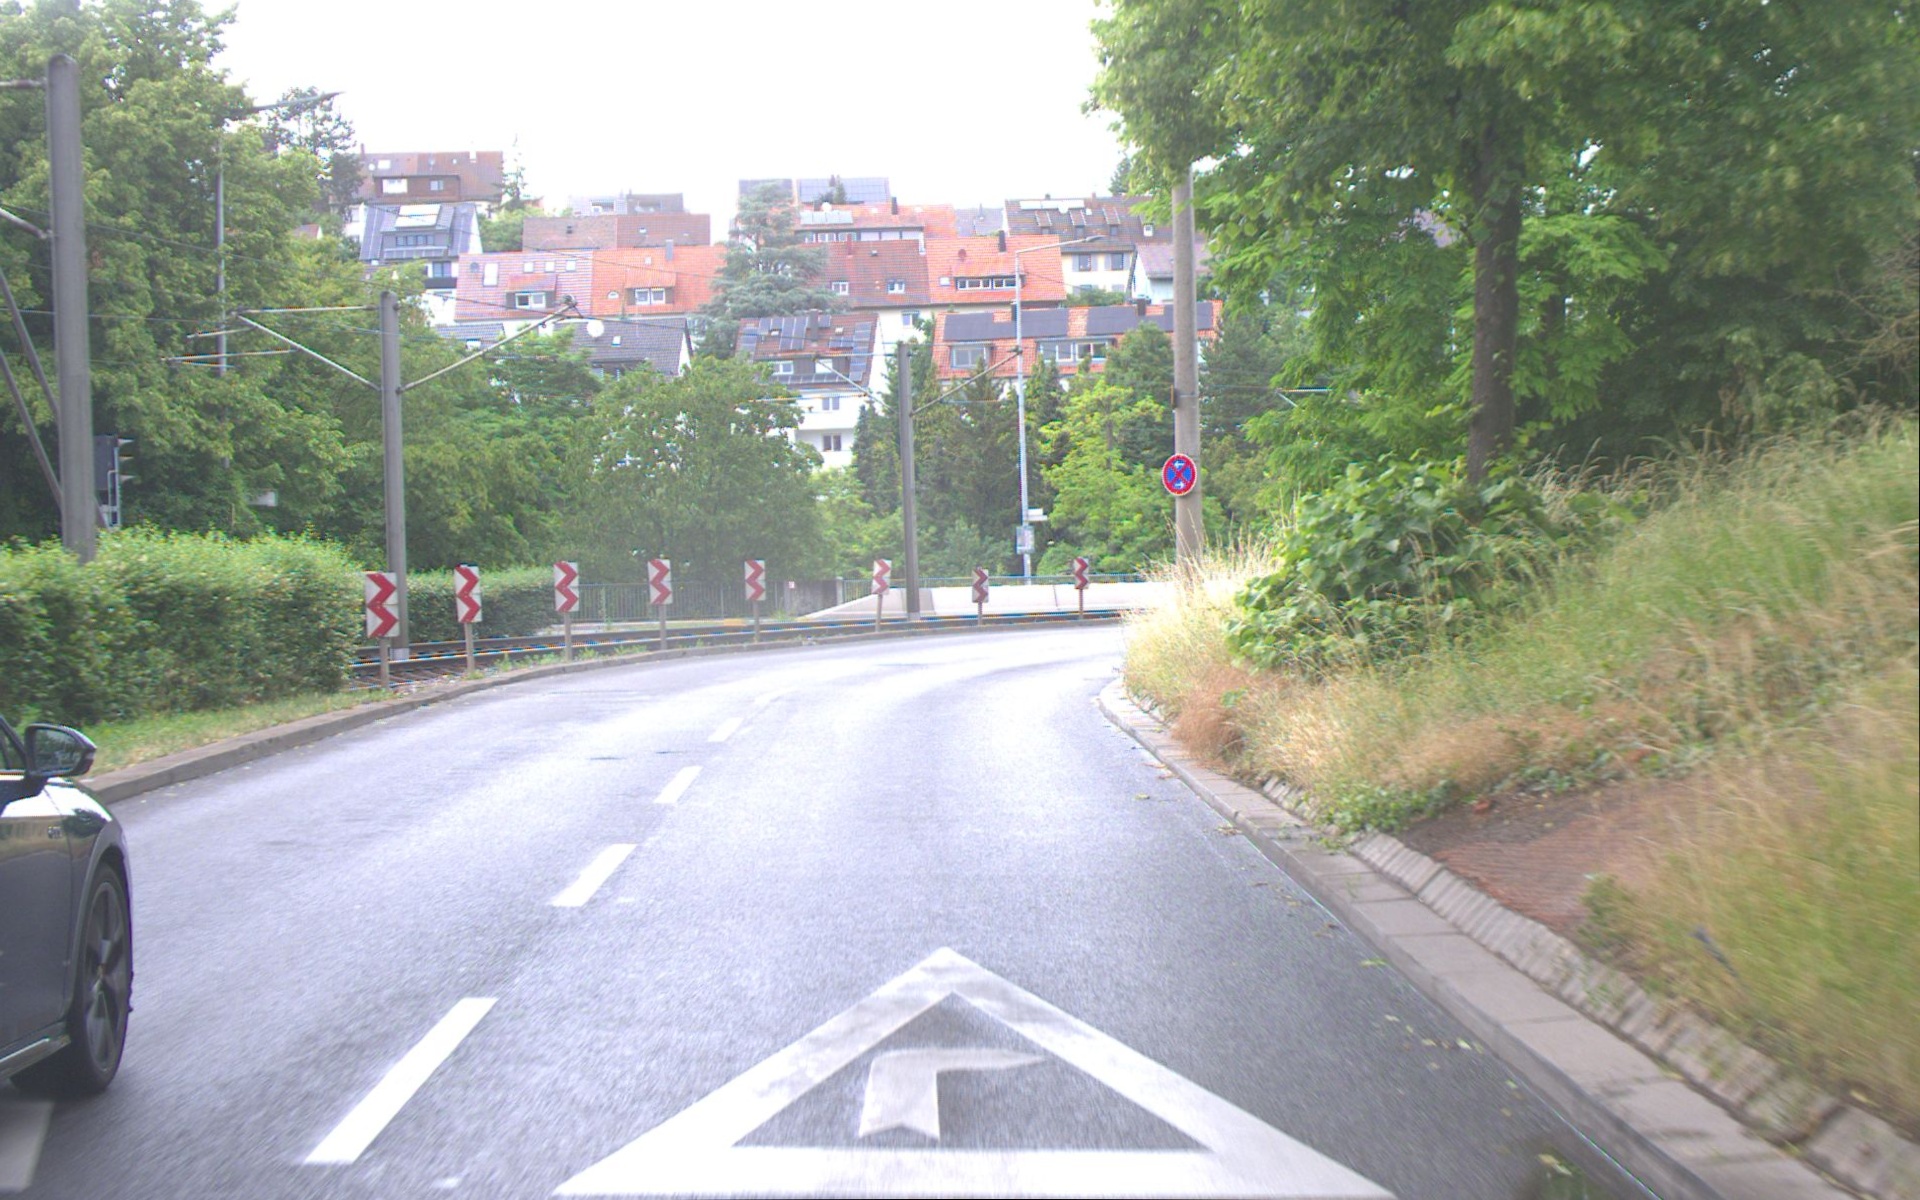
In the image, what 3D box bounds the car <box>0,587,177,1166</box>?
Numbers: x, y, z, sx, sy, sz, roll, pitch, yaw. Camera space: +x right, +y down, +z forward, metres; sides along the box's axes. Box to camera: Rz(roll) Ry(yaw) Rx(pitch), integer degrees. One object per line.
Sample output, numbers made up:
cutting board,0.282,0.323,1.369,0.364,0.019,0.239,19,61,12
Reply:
car,-3.203,0.674,7.985,1.808,1.374,4.347,0,1,0
